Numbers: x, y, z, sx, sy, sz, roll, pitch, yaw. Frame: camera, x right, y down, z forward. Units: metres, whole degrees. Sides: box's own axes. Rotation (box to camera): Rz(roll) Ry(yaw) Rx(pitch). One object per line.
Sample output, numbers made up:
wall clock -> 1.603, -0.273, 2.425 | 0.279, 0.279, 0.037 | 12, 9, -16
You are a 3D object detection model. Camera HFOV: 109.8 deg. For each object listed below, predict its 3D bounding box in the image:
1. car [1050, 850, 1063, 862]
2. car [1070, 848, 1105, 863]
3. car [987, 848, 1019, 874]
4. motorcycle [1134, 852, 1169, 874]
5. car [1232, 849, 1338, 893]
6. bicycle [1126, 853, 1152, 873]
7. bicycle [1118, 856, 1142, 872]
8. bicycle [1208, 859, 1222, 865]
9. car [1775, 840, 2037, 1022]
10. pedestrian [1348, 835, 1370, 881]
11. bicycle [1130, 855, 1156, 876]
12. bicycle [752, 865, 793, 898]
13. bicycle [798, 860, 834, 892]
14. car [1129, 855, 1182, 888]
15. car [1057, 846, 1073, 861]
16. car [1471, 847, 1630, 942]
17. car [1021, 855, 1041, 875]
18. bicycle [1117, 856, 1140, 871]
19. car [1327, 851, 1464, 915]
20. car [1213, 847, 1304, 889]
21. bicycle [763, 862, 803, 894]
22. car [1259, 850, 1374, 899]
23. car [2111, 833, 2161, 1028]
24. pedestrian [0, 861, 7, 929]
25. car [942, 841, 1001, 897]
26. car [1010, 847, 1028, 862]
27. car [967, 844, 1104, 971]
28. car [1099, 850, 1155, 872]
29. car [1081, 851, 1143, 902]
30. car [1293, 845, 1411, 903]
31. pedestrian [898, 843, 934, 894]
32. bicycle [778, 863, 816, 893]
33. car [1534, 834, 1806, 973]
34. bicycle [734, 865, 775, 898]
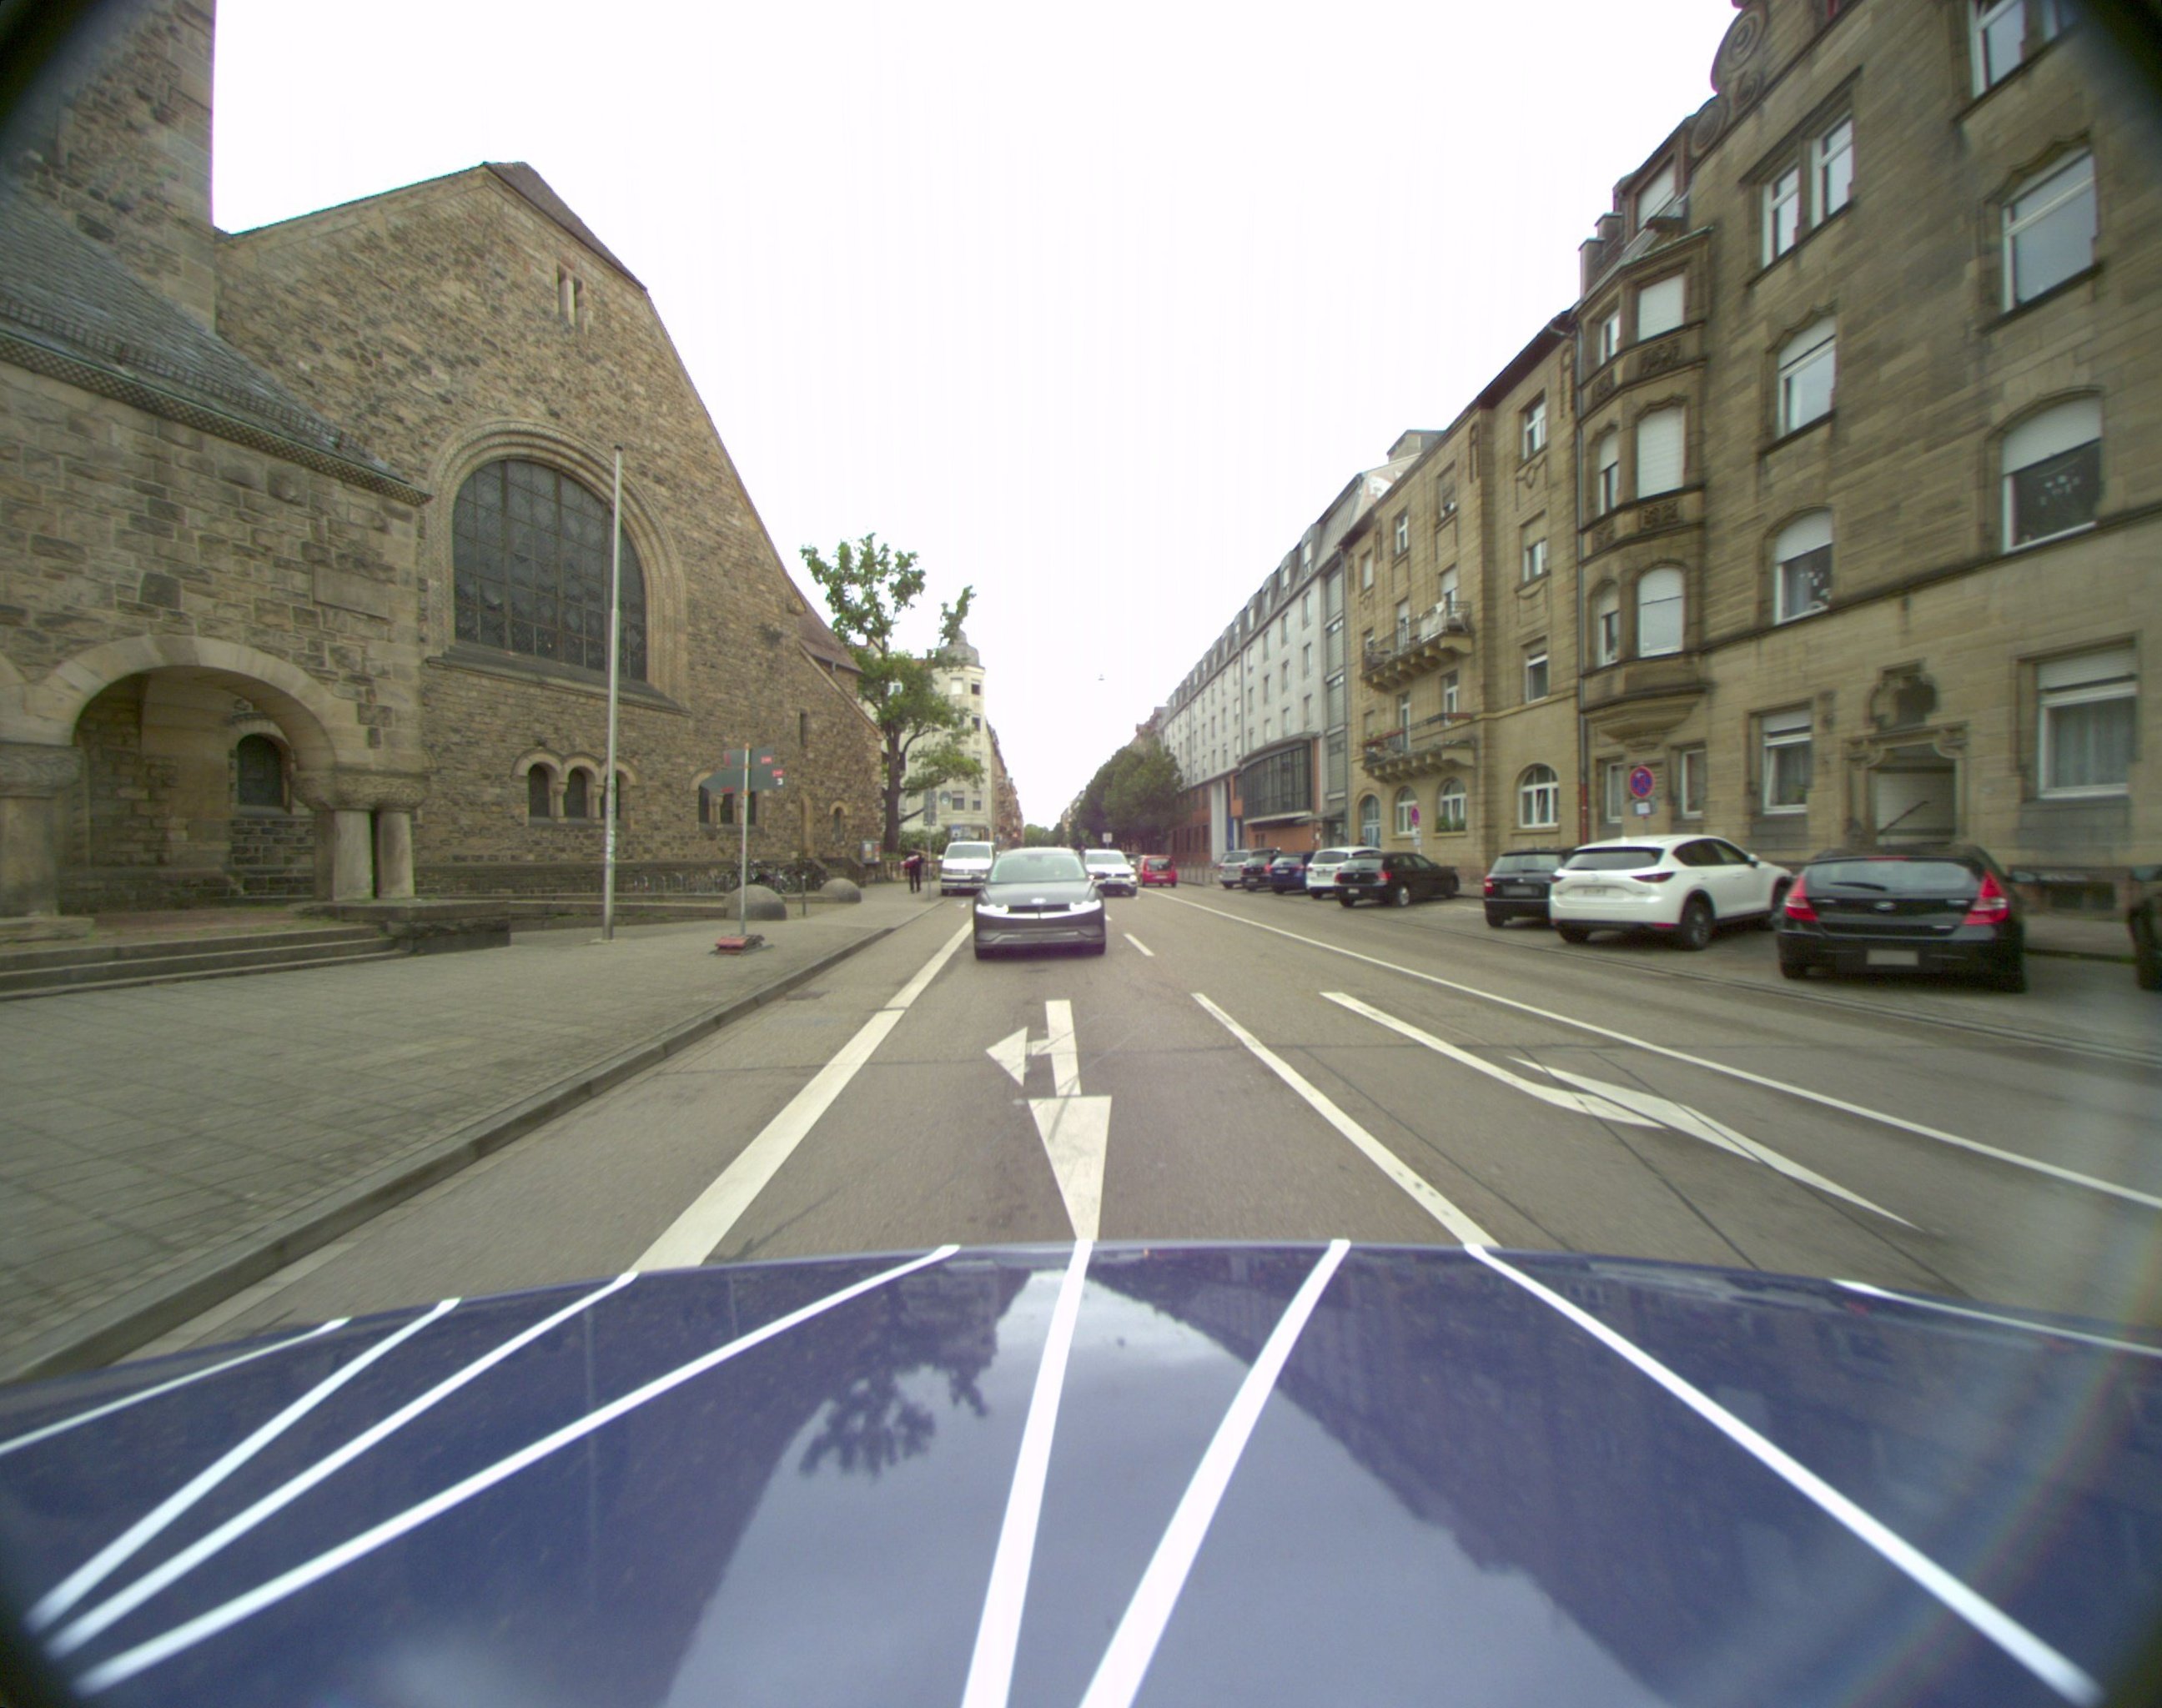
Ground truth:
car -> -3.886, 0.270, 119.077 | 1.999, 1.897, 3.999 | -1, 0, -2
car -> 0.857, 0.222, 100.068 | 4.005, 1.898, 1.996 | -1, 1, -26
car -> -4.929, 0.408, 48.426 | 1.820, 1.556, 3.999 | -1, 0, -2
motorcycle -> 4.584, 0.570, 49.369 | 2.124, 1.345, 0.599 | -2, 1, -2
car -> 7.926, 0.640, 29.423 | 4.006, 1.430, 1.729 | -3, 1, -35
bicycle -> 3.914, 0.577, 51.348 | 1.630, 1.282, 0.416 | -2, 1, -4
bicycle -> 3.553, 0.704, 54.933 | 1.630, 1.067, 0.416 | -2, 1, -4
bicycle -> 10.473, 0.594, 59.317 | 1.010, 0.434, 0.527 | -1, 2, -1
car -> 9.599, 0.701, 8.800 | 4.007, 1.486, 1.727 | -4, 1, -40
pedestrian -> 11.062, 0.164, 30.291 | 0.622, 1.812, 0.642 | -1, 1, -3
bicycle -> 4.131, 0.764, 50.437 | 1.630, 1.345, 0.416 | -2, 1, -4
bicycle -> -10.216, 0.903, 25.164 | 1.380, 1.054, 0.311 | 0, 1, 19
bicycle -> -9.561, 0.802, 27.411 | 1.340, 1.140, 0.311 | 0, 1, 19
car -> 3.425, 0.781, 35.560 | 1.654, 1.439, 3.508 | -1, 0, -8
car -> -1.949, -0.077, 93.992 | 1.698, 1.793, 4.127 | 0, 0, -5
car -> 9.261, 0.697, 14.861 | 3.819, 1.489, 1.565 | -3, 2, -41
car -> -4.792, 1.034, 72.626 | 1.832, 1.762, 3.998 | -1, 1, -4
bicycle -> 3.455, 0.698, 55.449 | 1.630, 1.067, 0.416 | -2, 1, -4
car -> 8.573, 0.703, 20.569 | 4.007, 1.409, 1.657 | -3, 2, -38
car -> 7.638, 0.564, 32.459 | 4.007, 1.545, 1.729 | -4, 1, -42
bicycle -> -10.171, 0.820, 25.947 | 1.380, 1.054, 0.311 | 0, 1, 19
car -> 8.299, 0.683, 26.720 | 3.754, 1.437, 1.820 | -3, 1, -33
car -> 9.562, 0.664, 5.604 | 4.234, 1.642, 1.726 | -2, 1, -45
pedestrian -> -15.499, 0.580, 10.483 | 0.672, 0.946, 0.616 | 0, 1, 20
car -> -4.035, 0.517, 28.816 | 1.810, 1.908, 5.162 | -1, 0, -4
car -> -6.576, 0.024, 81.039 | 1.820, 1.556, 3.999 | -1, 0, -2
car -> -0.689, 0.708, 12.170 | 1.820, 1.675, 3.999 | -1, 0, -2
car -> 3.582, 0.553, 59.278 | 4.005, 1.619, 1.768 | -1, 1, -26
car -> 1.004, 0.711, 26.595 | 1.911, 1.597, 4.249 | -1, 1, -1
car -> 8.672, 0.585, 24.133 | 4.007, 1.545, 1.699 | -4, 1, -40
pedestrian -> -6.072, 0.532, 27.984 | 0.814, 1.799, 1.021 | 0, 3, 18
bicycle -> -9.940, 0.835, 26.550 | 1.340, 1.054, 0.311 | 0, 1, 19
car -> 9.307, 0.645, 11.983 | 4.005, 1.714, 1.837 | -3, 2, -27
bicycle -> -10.613, 0.896, 24.681 | 1.380, 1.054, 0.311 | 0, 1, 19
